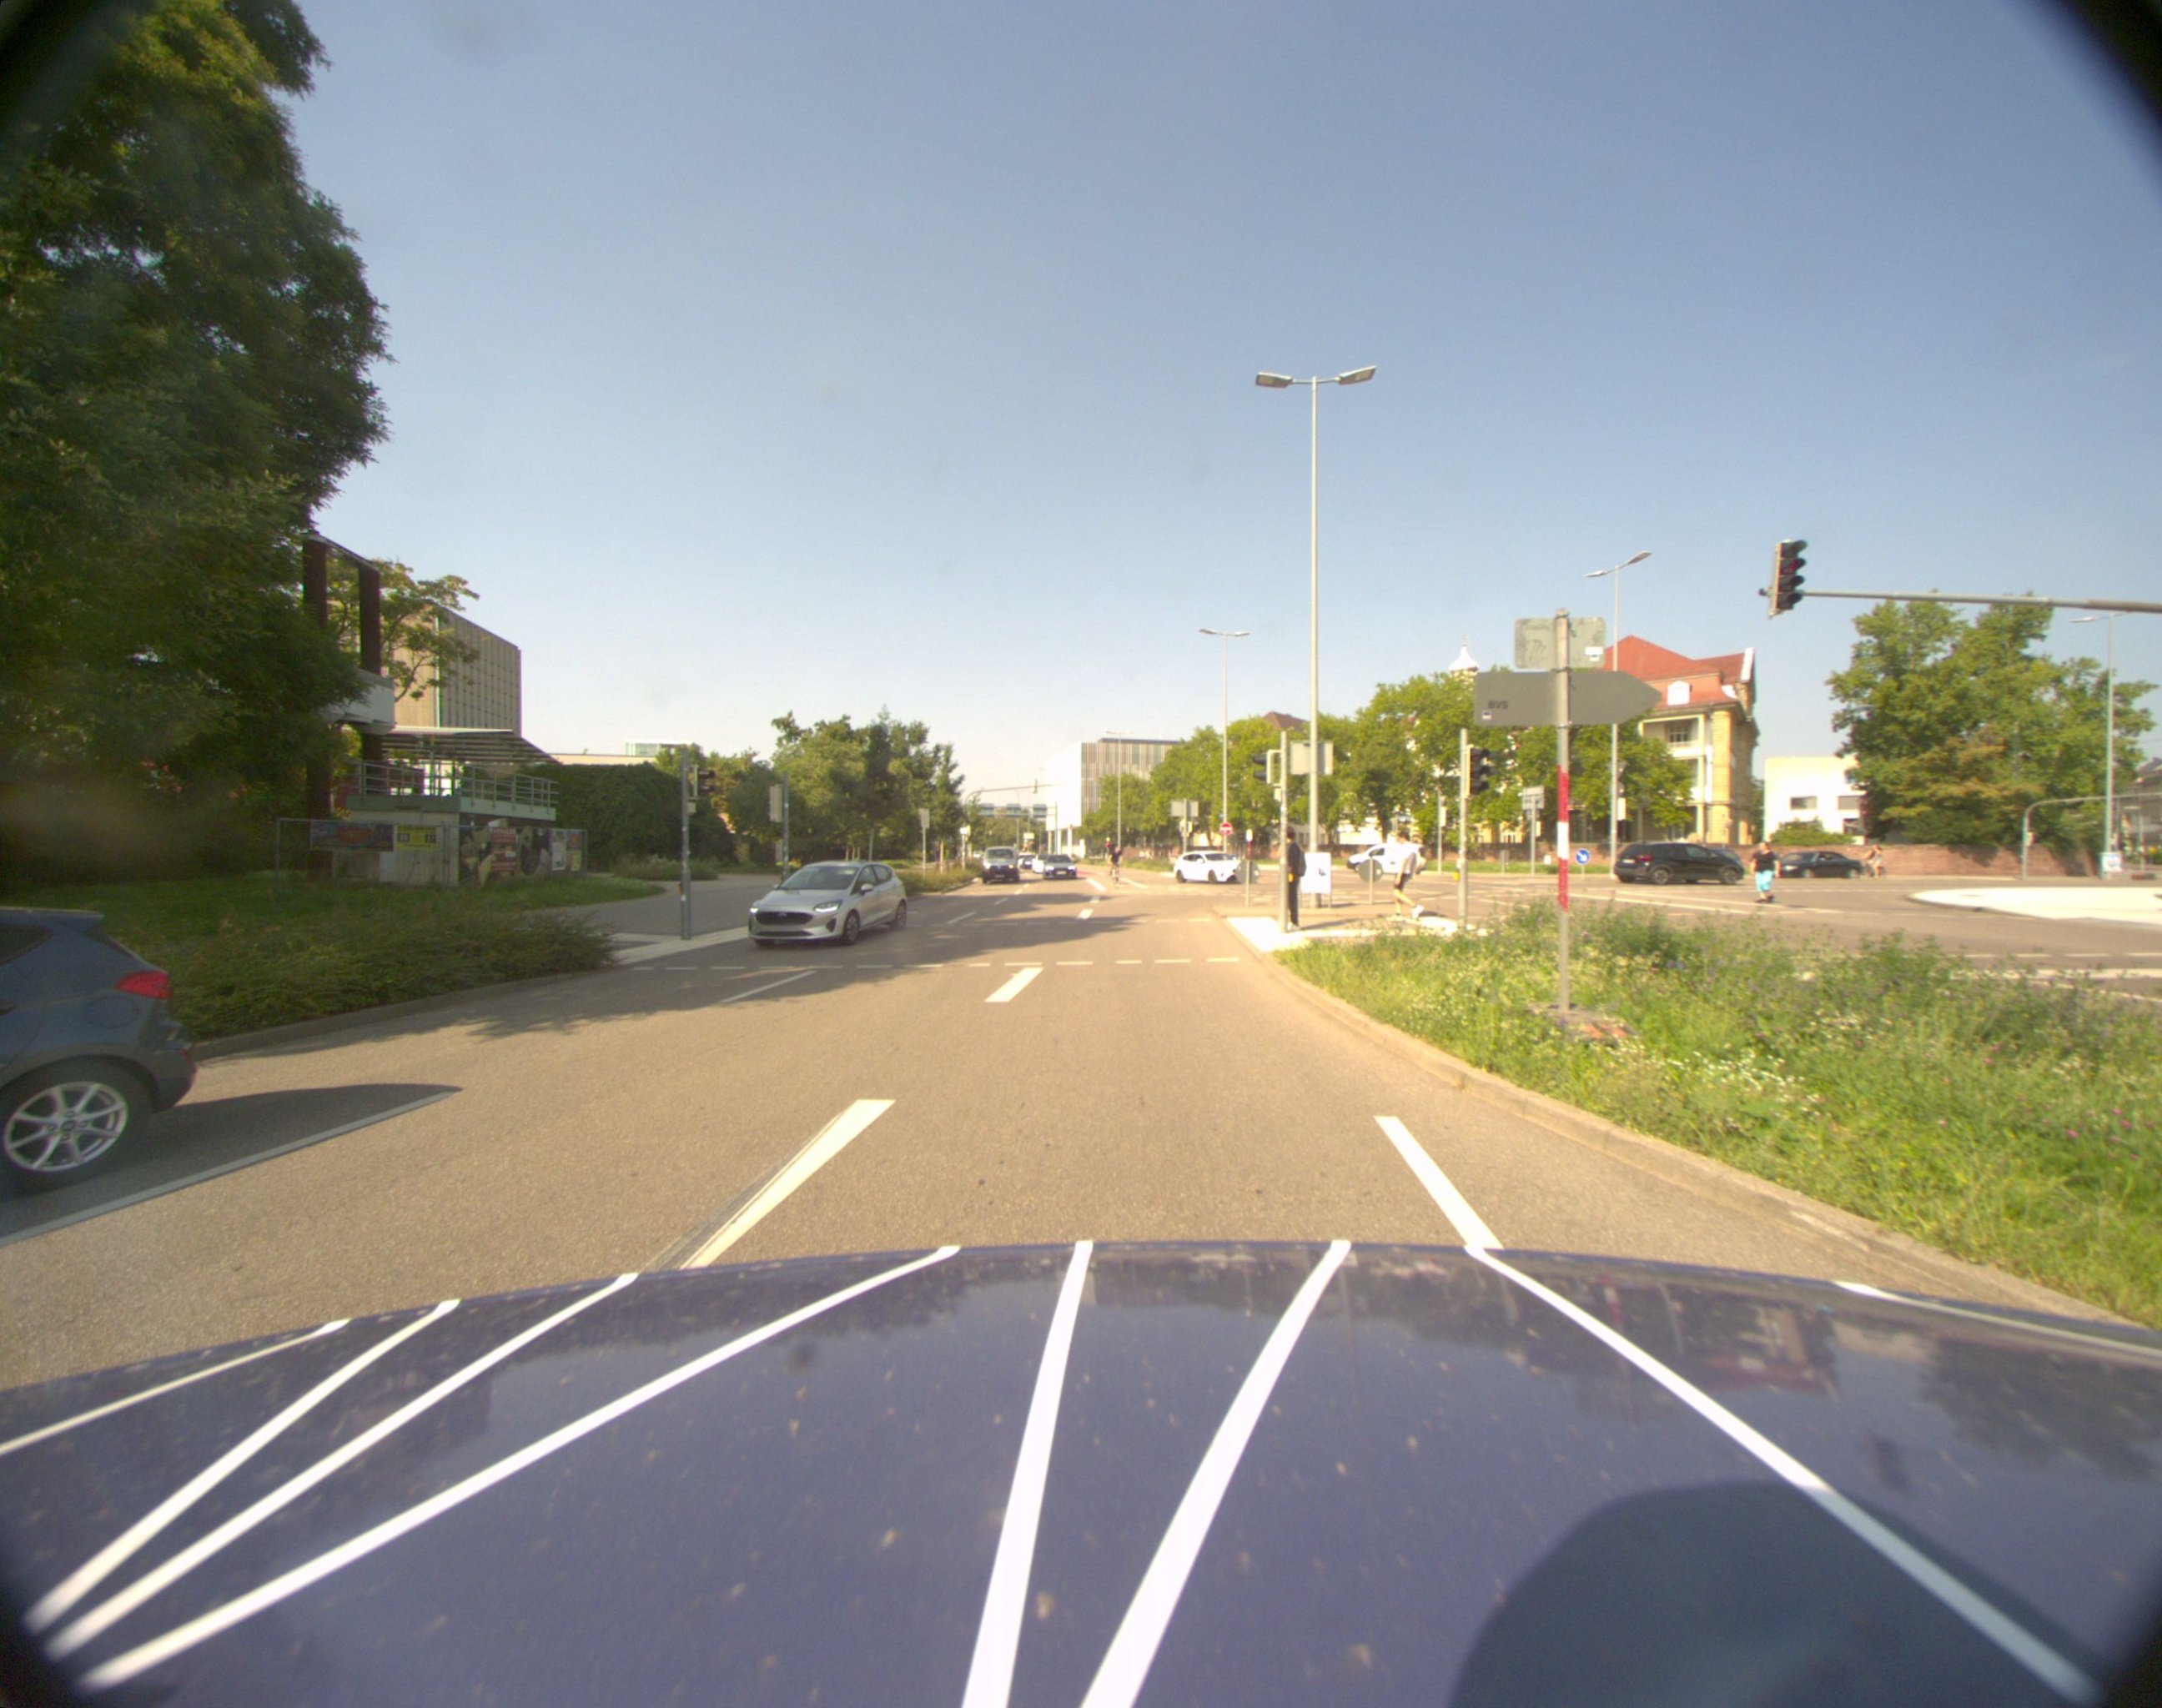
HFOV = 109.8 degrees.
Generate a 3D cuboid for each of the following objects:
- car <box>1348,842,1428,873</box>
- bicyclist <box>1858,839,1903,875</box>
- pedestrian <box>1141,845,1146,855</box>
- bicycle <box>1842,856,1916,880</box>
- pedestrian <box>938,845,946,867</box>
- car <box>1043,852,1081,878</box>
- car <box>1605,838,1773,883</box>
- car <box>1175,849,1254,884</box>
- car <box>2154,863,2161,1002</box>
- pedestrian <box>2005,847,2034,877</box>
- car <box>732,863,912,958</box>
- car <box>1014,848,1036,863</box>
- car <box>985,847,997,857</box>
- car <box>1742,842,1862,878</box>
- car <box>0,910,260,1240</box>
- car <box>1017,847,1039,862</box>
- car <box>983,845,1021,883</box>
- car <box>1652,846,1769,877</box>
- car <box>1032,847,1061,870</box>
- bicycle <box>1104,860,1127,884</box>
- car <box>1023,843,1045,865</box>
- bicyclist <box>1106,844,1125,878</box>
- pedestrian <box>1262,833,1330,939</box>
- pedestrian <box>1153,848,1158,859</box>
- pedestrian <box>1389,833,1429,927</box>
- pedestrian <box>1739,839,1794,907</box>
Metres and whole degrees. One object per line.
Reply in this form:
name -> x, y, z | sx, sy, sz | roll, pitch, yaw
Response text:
car -> 17.655, 0.220, 43.745 | 3.989, 1.667, 1.761 | -2, -2, 35
bicyclist -> 39.962, 0.162, 37.995 | 1.369, 1.735, 0.887 | 0, -2, -7
pedestrian -> 9.450, -0.558, 115.458 | 0.536, 1.562, 0.501 | -1, 1, -30
bicycle -> 39.882, 0.693, 37.985 | 3.078, 1.197, 0.887 | 0, -2, -8
pedestrian -> -11.625, 0.195, 63.386 | 0.623, 1.835, 0.640 | 0, 1, -10
car -> -1.142, 0.603, 44.078 | 1.911, 1.392, 4.917 | 0, 0, -5
car -> 22.034, 0.229, 27.630 | 4.712, 1.569, 1.853 | 0, 1, -3
car -> 5.926, 0.534, 34.063 | 1.717, 1.428, 3.858 | -2, 1, -21
car -> 11.140, 0.792, 4.921 | 1.845, 1.354, 4.820 | -1, 1, 6
pedestrian -> 63.502, 0.564, 51.408 | 0.907, 2.001, 0.822 | 0, -2, 3
car -> -4.637, 0.950, 14.245 | 1.719, 1.425, 3.861 | -1, 1, 5
car -> -6.270, 0.138, 84.791 | 1.933, 1.650, 4.290 | 0, 0, -11
car -> -14.753, -0.305, 124.385 | 1.832, 1.674, 3.996 | 0, 1, -10
car -> 32.624, 0.238, 34.421 | 4.001, 1.543, 1.998 | 0, 1, -11
car -> -5.942, 1.075, 2.375 | 1.638, 1.419, 4.325 | -2, 0, 11
car -> -5.504, 0.047, 79.076 | 1.933, 1.497, 4.291 | 0, 0, -9
car -> -4.242, 0.485, 41.286 | 1.846, 1.864, 4.970 | -1, 1, -5
car -> 27.621, 0.313, 33.350 | 4.334, 1.321, 1.606 | 0, 1, -12
car -> -2.552, 0.368, 55.929 | 1.829, 1.586, 3.827 | 0, -2, -8
bicycle -> 1.633, 0.835, 36.118 | 0.770, 1.046, 1.773 | 0, 1, -7
car -> -4.378, 0.029, 70.743 | 1.749, 2.001, 3.748 | 0, -2, -9
bicyclist -> 1.633, 0.324, 36.074 | 0.749, 1.626, 0.875 | 0, 1, -7
pedestrian -> 3.825, 0.557, 13.585 | 1.081, 1.829, 0.730 | 0, 1, 8
pedestrian -> 11.248, -0.084, 114.092 | 0.484, 1.641, 0.593 | 1, -2, -28
pedestrian -> 6.503, 0.495, 15.085 | 0.693, 1.822, 0.571 | 0, 1, 20
pedestrian -> 16.331, 0.430, 18.108 | 0.668, 1.556, 0.752 | -1, 3, -29
